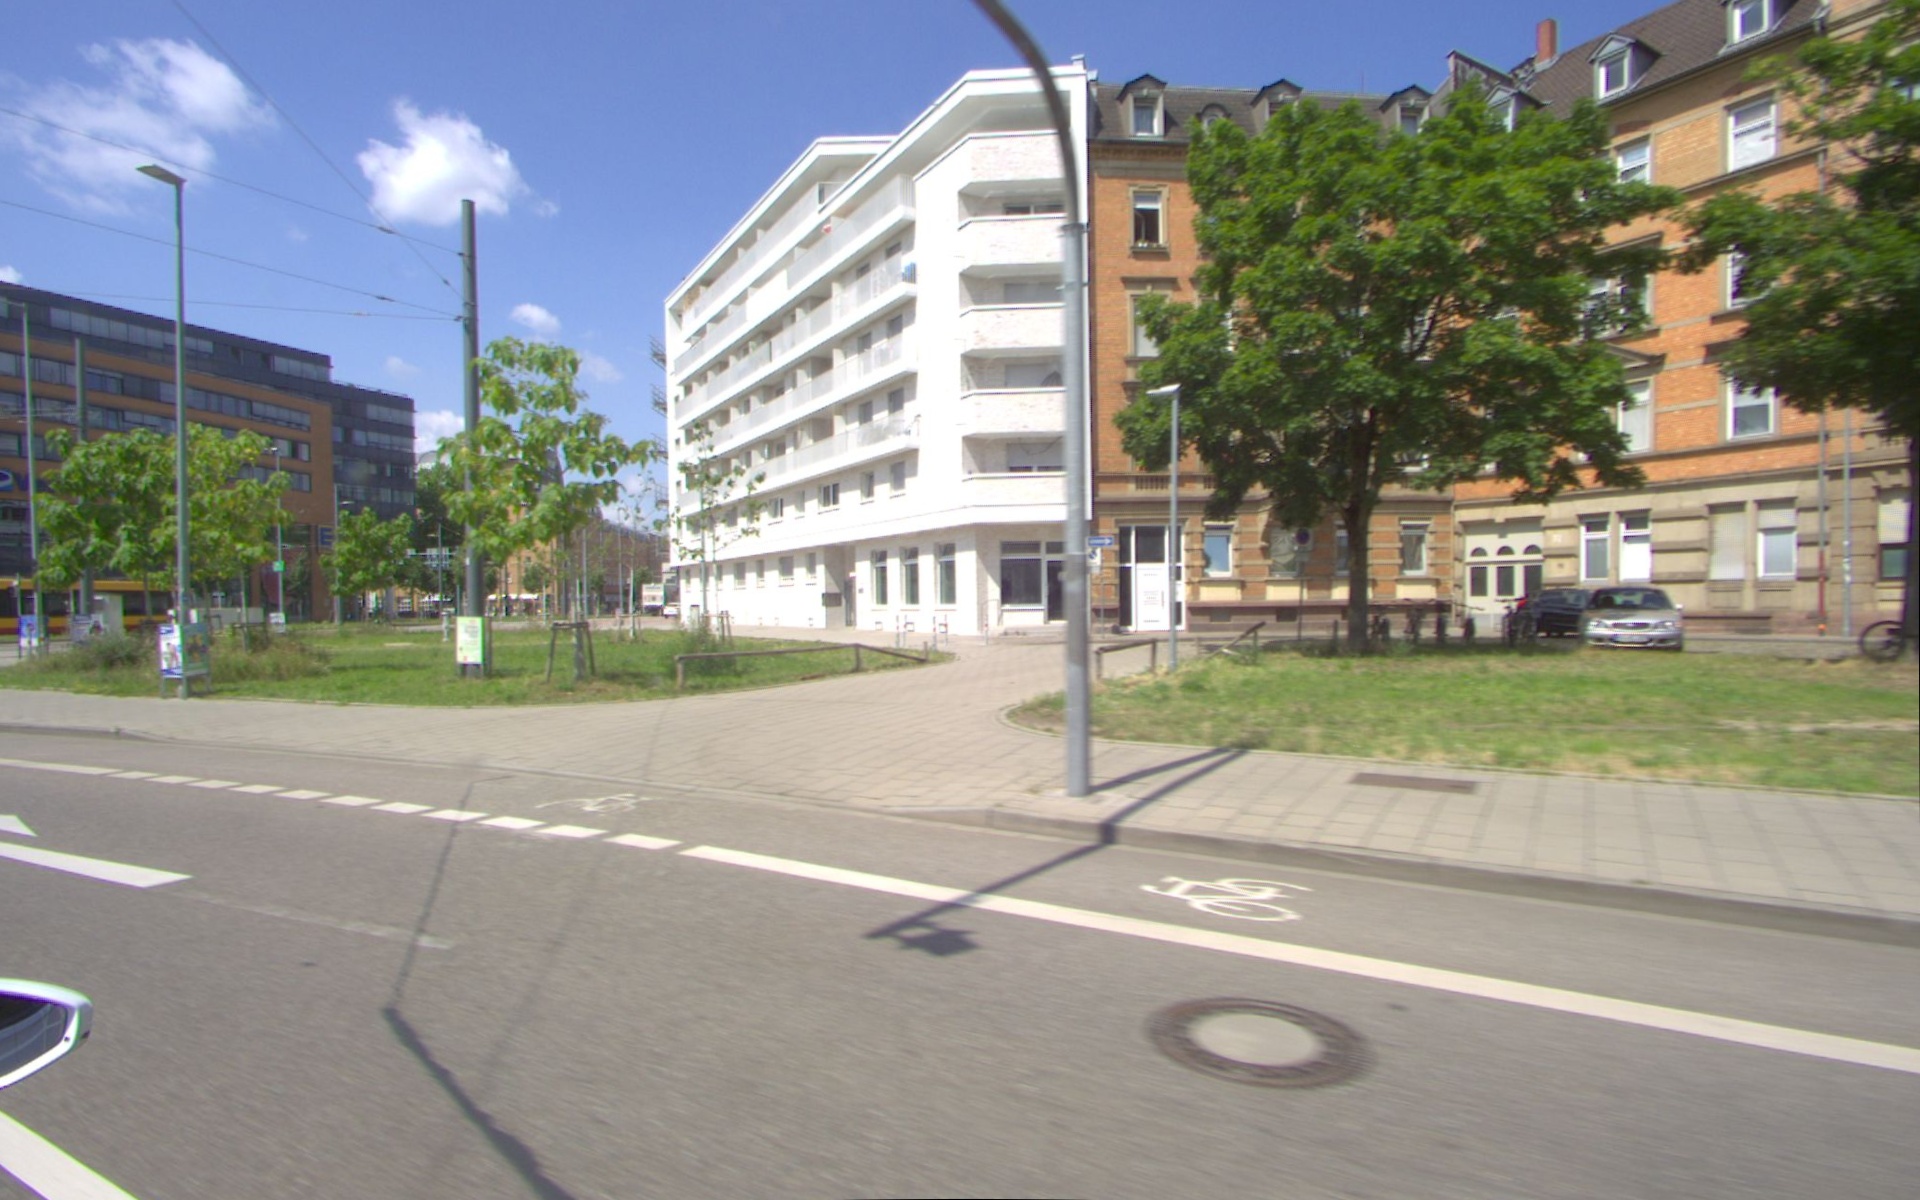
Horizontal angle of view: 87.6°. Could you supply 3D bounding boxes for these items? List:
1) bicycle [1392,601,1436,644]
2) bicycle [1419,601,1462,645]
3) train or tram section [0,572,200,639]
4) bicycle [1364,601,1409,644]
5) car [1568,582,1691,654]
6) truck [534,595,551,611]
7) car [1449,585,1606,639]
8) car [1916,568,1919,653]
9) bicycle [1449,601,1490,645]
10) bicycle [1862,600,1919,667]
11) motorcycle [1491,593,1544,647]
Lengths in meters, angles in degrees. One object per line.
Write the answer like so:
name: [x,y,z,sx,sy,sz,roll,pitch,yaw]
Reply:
bicycle: [10.891,0.527,23.960,0.536,0.982,2.377,0,-1,35]
bicycle: [11.344,0.537,23.622,0.536,0.982,2.377,0,-1,35]
train or tram section: [-53.095,0.407,60.459,3.007,3.668,12.630,0,-1,12]
bicycle: [10.383,0.544,24.319,0.536,0.982,2.377,0,-1,35]
car: [13.199,0.351,19.743,1.838,1.260,4.140,0,-1,35]
truck: [-57.588,0.401,138.150,1.967,2.113,5.508,0,-1,-21]
car: [16.943,0.359,30.069,1.641,1.511,3.833,1,-1,-30]
car: [16.116,0.183,14.864,1.778,1.446,4.240,0,0,29]
bicycle: [11.844,0.534,23.249,0.536,0.968,2.377,0,-1,35]
bicycle: [13.503,0.459,13.583,0.537,0.913,1.809,0,-1,-34]
motorcycle: [12.556,0.446,22.521,0.802,1.140,2.377,0,-1,35]
